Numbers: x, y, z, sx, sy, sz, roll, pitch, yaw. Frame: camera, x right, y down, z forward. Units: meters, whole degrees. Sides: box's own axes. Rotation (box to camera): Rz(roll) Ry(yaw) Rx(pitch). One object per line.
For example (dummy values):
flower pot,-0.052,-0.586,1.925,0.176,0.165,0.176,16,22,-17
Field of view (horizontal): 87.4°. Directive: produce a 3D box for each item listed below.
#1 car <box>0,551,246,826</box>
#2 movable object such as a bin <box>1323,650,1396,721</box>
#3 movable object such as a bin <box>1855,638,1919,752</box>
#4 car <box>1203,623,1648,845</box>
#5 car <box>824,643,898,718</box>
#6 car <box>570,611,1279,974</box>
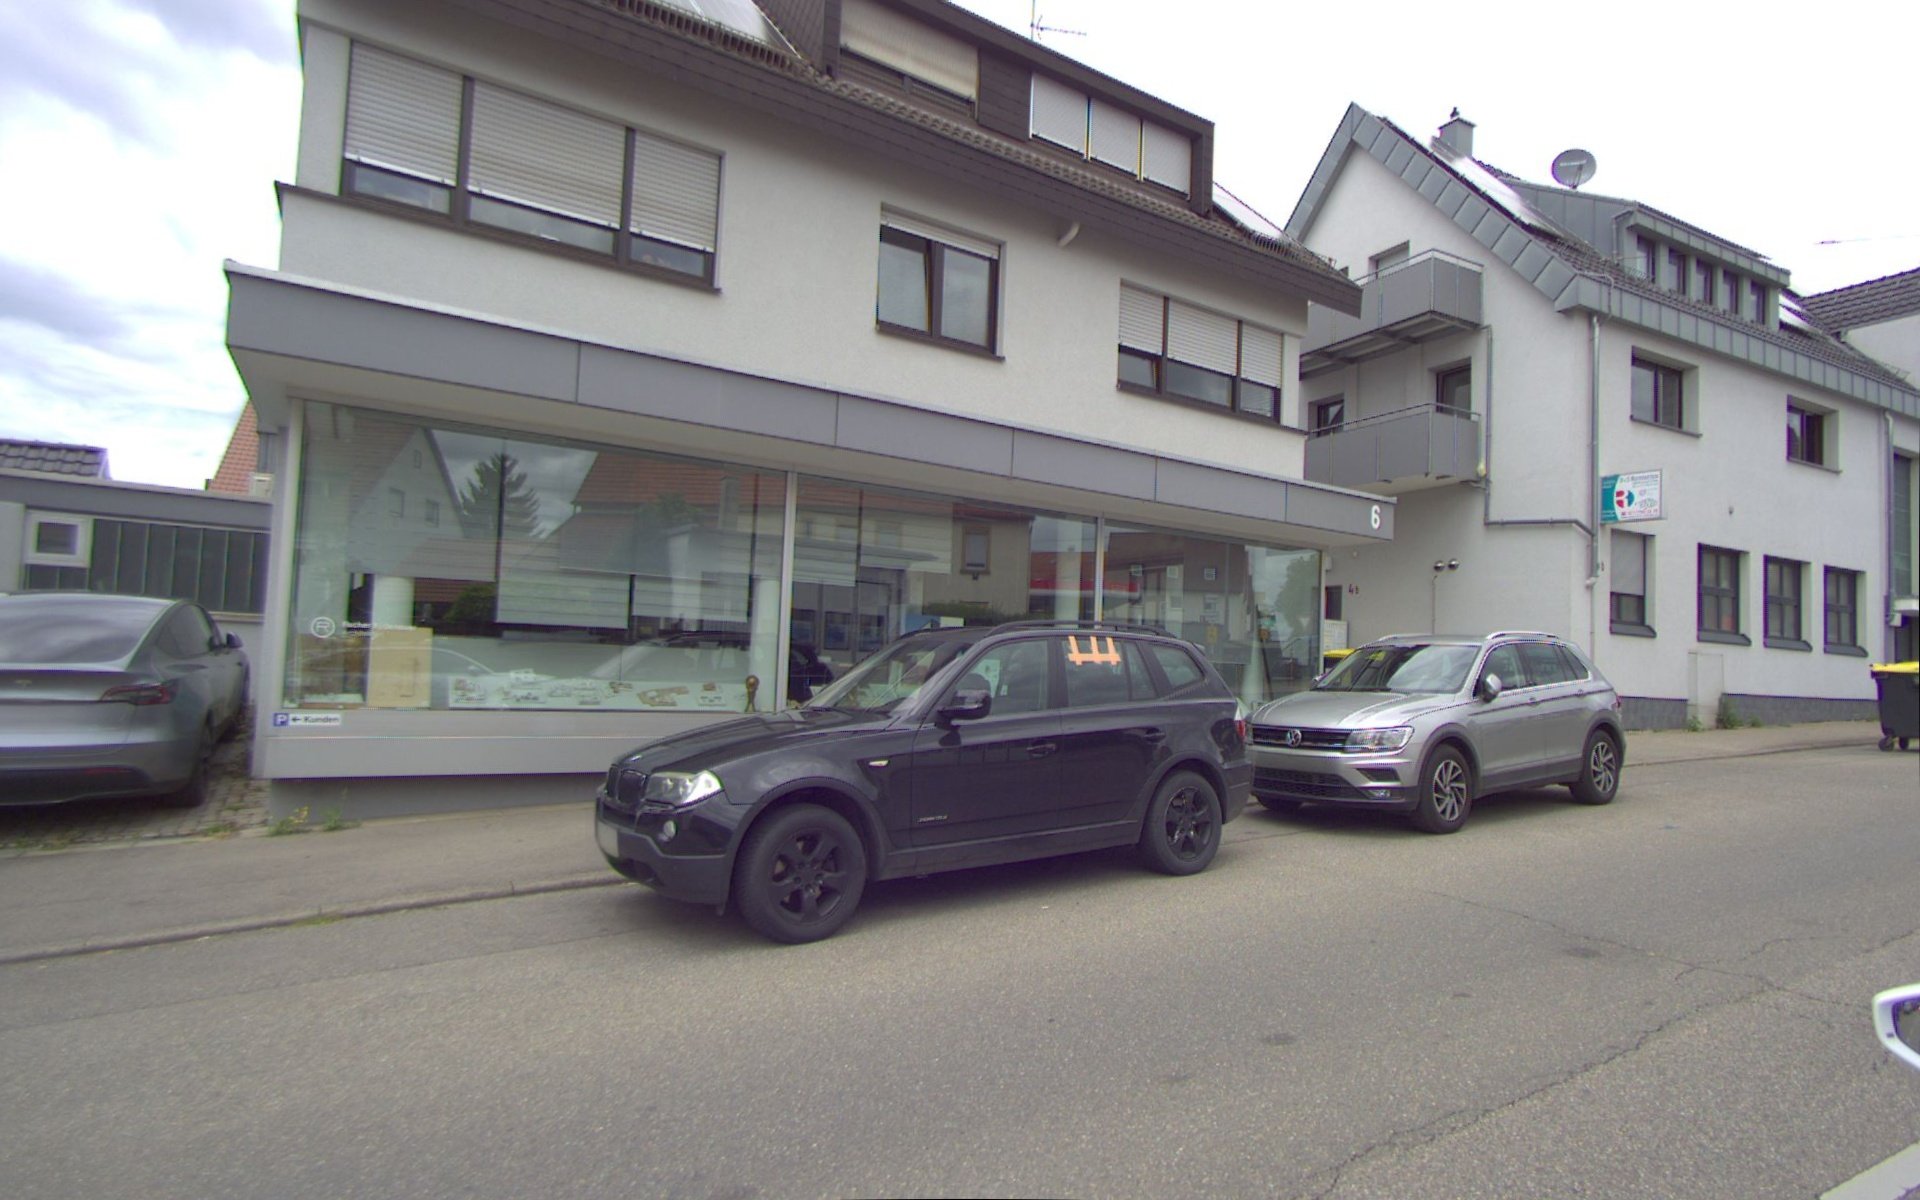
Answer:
car,-7.517,0.690,8.596,1.978,1.880,3.967,2,-3,-32
movable object such as a bin,7.861,1.659,19.771,1.134,1.317,0.778,2,0,-28
movable object such as a bin,14.558,1.411,15.181,1.547,1.654,1.133,2,-4,-34
car,4.506,1.106,9.515,4.363,1.654,1.827,2,-4,-34
car,-2.768,2.260,28.885,1.948,1.995,3.960,0,-3,-3
car,-0.074,0.987,6.609,4.363,1.654,1.827,2,-4,-34
